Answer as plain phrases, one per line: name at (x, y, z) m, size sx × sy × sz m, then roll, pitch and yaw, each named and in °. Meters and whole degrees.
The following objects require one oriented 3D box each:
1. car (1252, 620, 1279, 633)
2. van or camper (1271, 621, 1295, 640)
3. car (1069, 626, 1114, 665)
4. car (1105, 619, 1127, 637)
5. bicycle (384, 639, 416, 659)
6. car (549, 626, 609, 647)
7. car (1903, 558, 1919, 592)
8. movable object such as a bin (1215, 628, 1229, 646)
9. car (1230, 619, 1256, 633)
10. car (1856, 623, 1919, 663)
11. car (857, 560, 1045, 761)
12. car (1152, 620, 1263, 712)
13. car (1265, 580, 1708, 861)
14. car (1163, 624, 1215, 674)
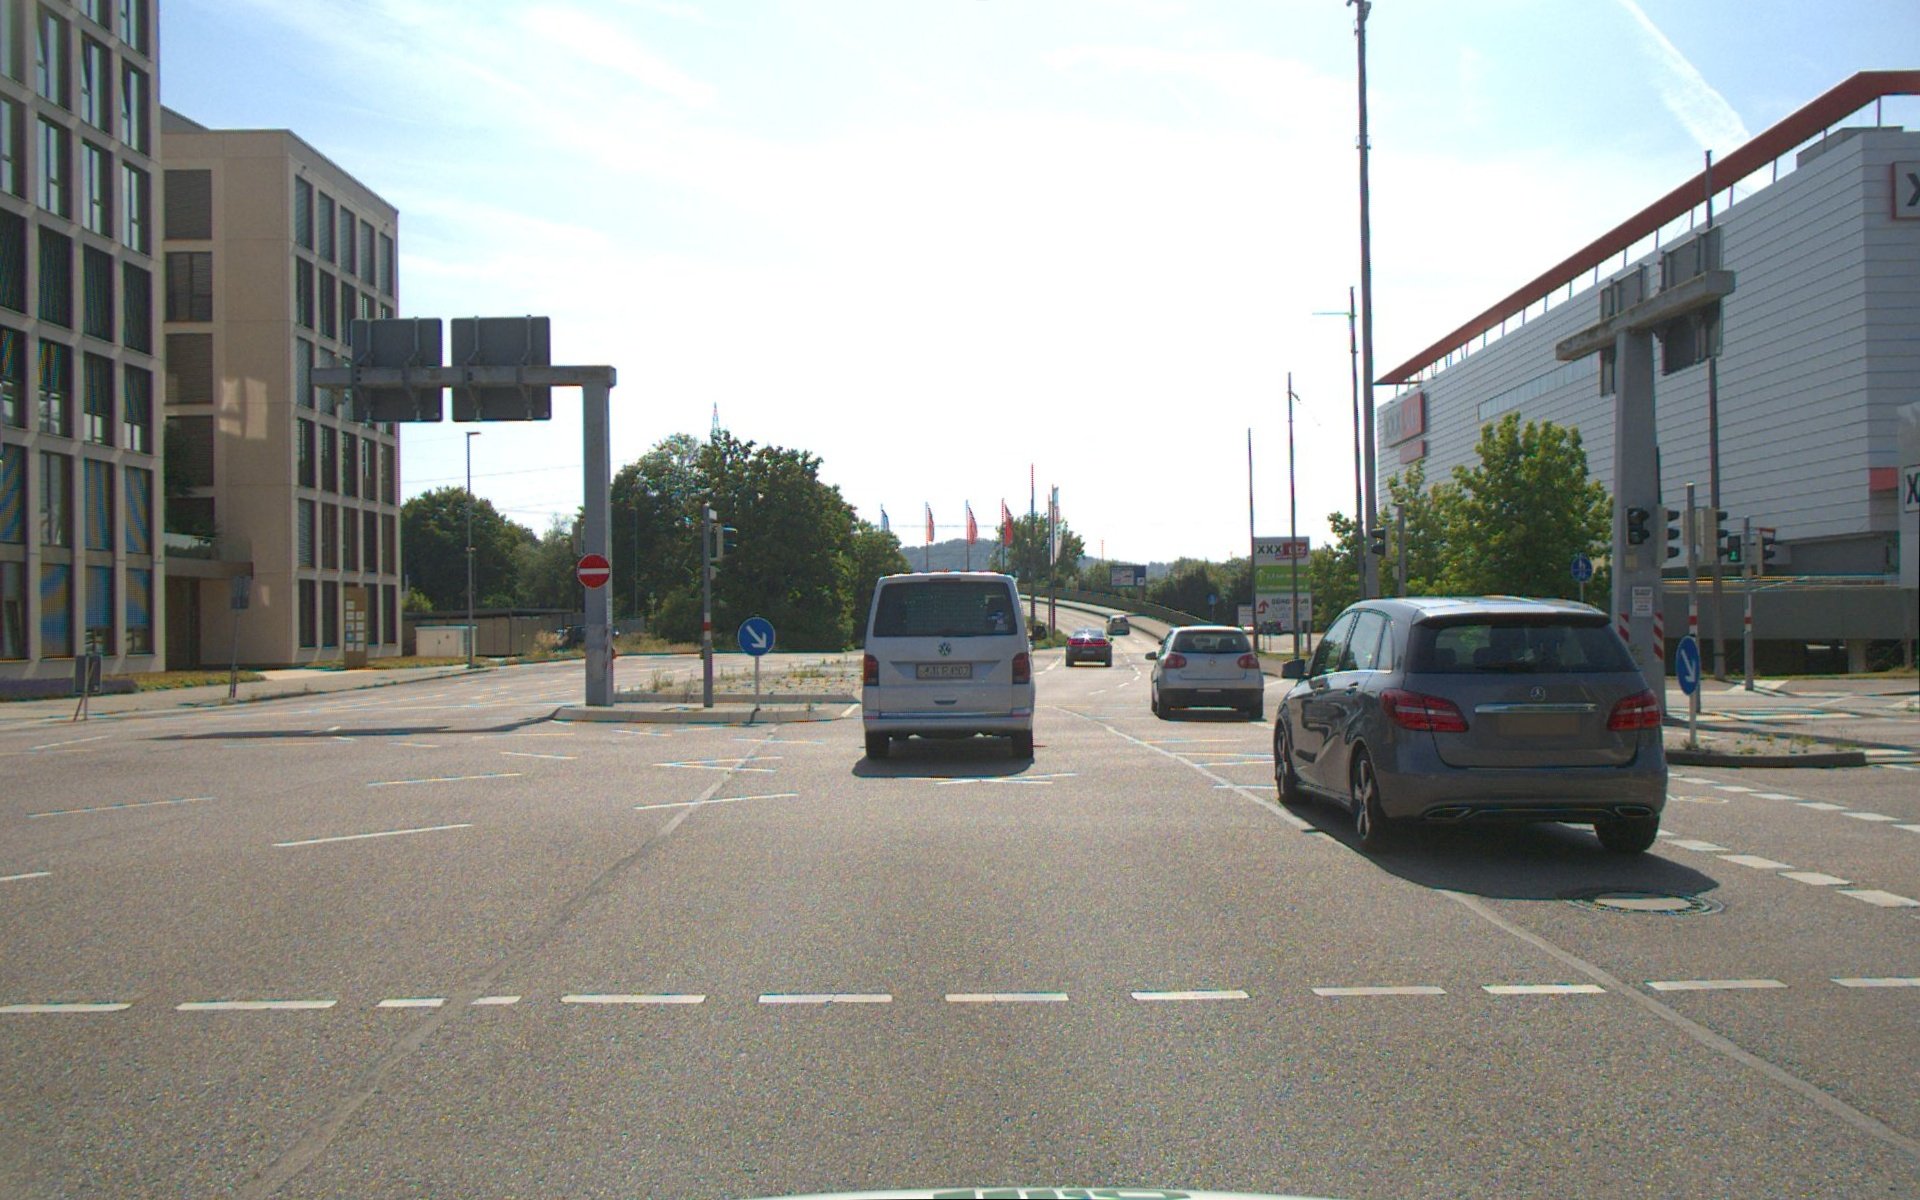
car at (35.936, 3.124, 194.645) m, size 1.956 × 1.445 × 3.992 m, roll 2°, pitch -2°, yaw -9°
van or camper at (39.239, 3.744, 201.003) m, size 2.054 × 2.217 × 5.439 m, roll 1°, pitch -2°, yaw 3°
car at (5.272, 1.811, 66.262) m, size 1.498 × 1.506 × 3.249 m, roll 0°, pitch -1°, yaw 10°
car at (12.888, 2.302, 136.696) m, size 1.499 × 1.506 × 3.425 m, roll 0°, pitch -1°, yaw 0°
bicycle at (-32.838, 2.867, 97.053) m, size 1.667 × 1.110 × 0.588 m, roll -1°, pitch -1°, yaw 1°
car at (-27.454, 2.651, 119.076) m, size 4.038 × 1.445 × 1.718 m, roll 0°, pitch -2°, yaw -20°
car at (42.768, -1.130, 71.471) m, size 1.734 × 1.444 × 4.201 m, roll -1°, pitch -1°, yaw 2°
movable object such as a bin at (16.544, 2.324, 104.350) m, size 0.792 × 1.133 × 1.182 m, roll -1°, pitch -1°, yaw 4°
car at (33.274, 3.029, 194.596) m, size 1.849 × 1.546 × 3.991 m, roll 2°, pitch -2°, yaw -9°
car at (37.417, 1.673, 64.525) m, size 4.030 × 1.550 × 1.798 m, roll 1°, pitch -1°, yaw -5°
car at (-0.037, 0.635, 18.901) m, size 1.877 × 2.010 × 4.297 m, roll 1°, pitch -1°, yaw 1°
car at (4.097, 1.115, 27.859) m, size 1.631 × 1.439 × 3.684 m, roll 0°, pitch -2°, yaw 5°
car at (3.319, 0.694, 11.305) m, size 1.737 × 1.566 × 4.137 m, roll 0°, pitch -1°, yaw 0°
car at (7.251, 1.520, 52.586) m, size 1.498 × 1.506 × 3.598 m, roll 0°, pitch -1°, yaw 6°
